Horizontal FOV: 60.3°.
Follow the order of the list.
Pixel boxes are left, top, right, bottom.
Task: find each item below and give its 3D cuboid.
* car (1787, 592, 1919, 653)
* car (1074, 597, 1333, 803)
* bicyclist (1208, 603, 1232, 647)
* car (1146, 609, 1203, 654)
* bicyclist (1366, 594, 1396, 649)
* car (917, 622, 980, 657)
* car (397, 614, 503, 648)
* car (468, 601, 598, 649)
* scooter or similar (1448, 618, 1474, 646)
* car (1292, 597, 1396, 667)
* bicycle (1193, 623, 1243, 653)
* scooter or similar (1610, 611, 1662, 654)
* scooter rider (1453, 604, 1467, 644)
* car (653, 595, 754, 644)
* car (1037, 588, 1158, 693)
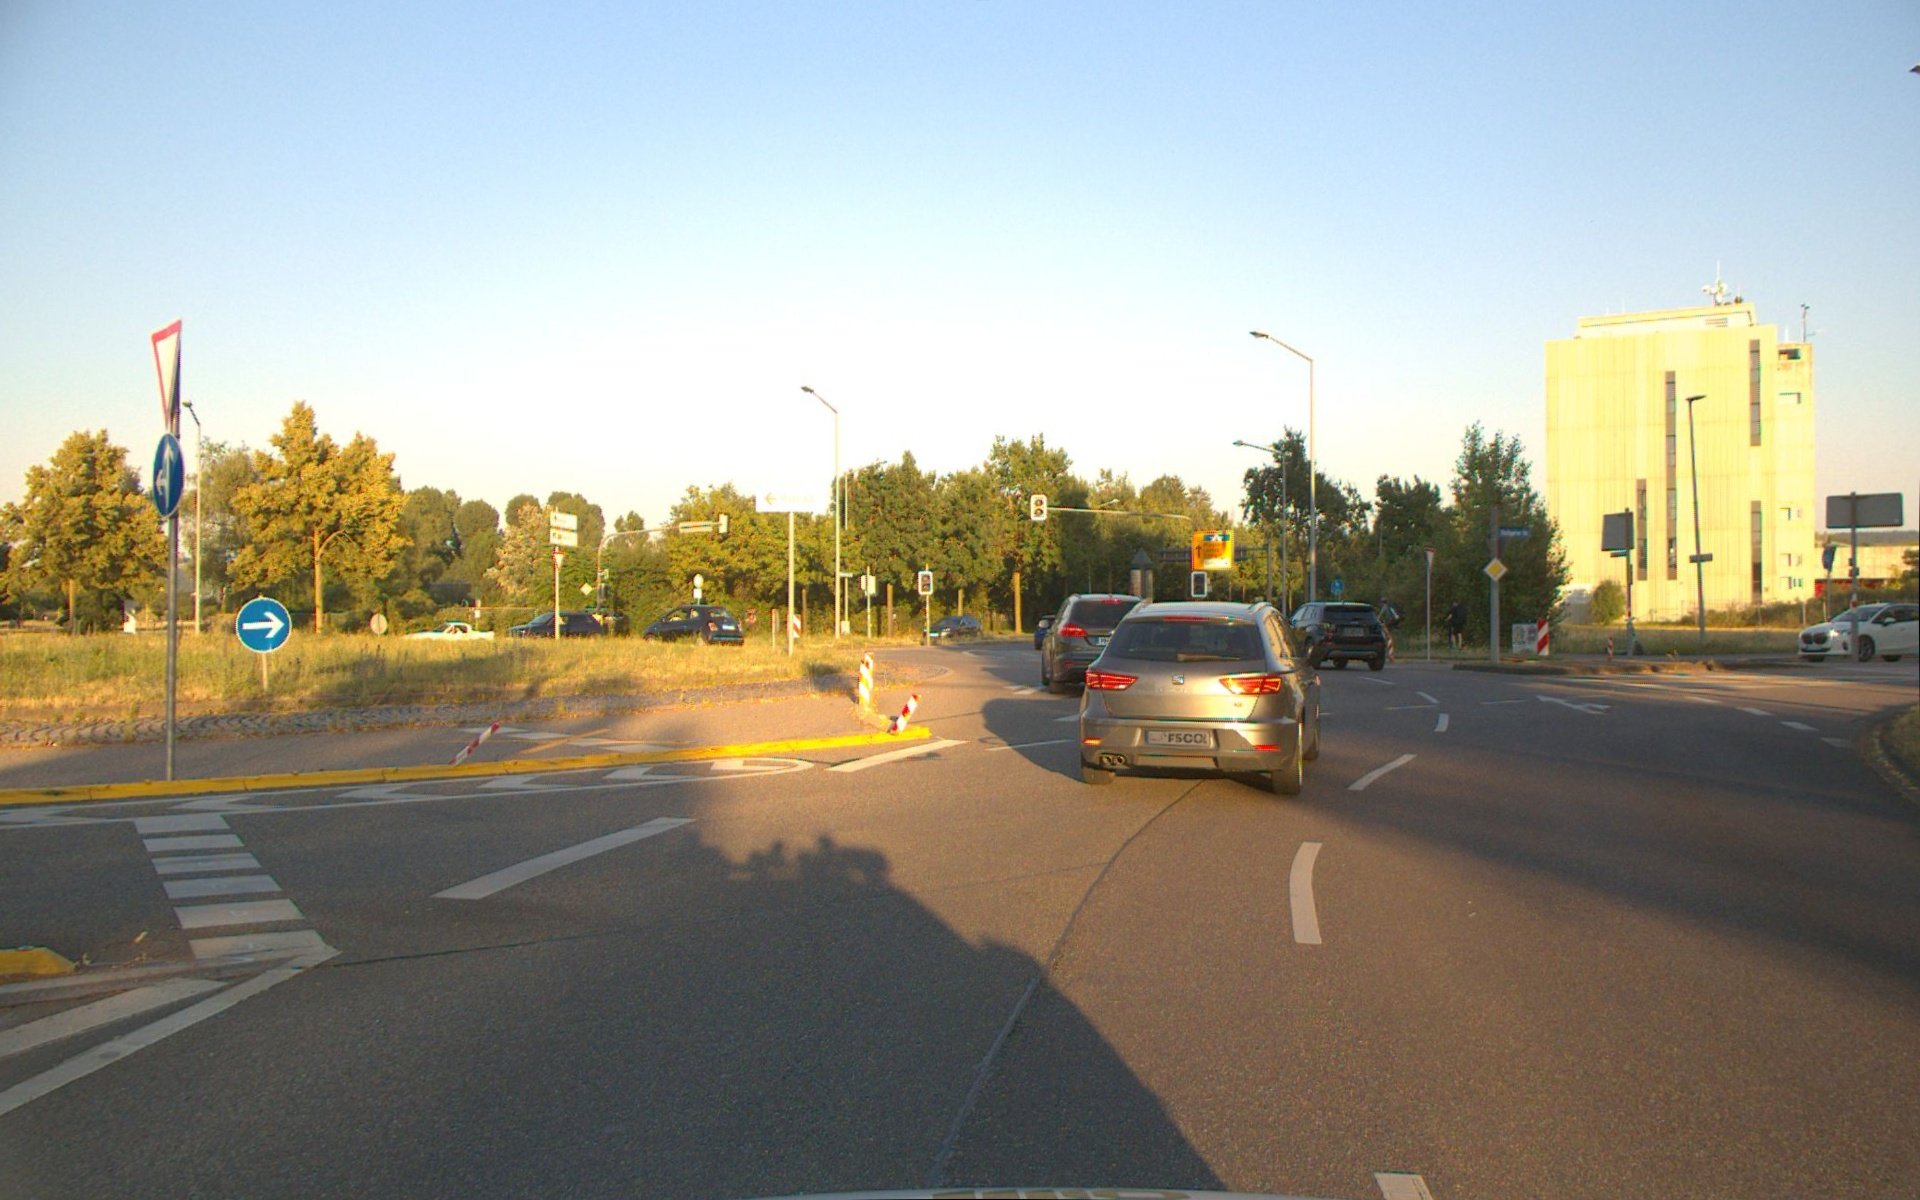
[{"bbox_3d":[24.891,0.630,45.070,4.015,1.586,1.883,0,-2,-16],"label":"car"},{"bbox_3d":[2.180,0.707,13.862,1.708,1.449,4.138,0,0,15],"label":"car"},{"bbox_3d":[10.436,0.985,66.323,0.752,1.732,0.641,-3,-2,22],"label":"bicyclist"},{"bbox_3d":[7.457,1.075,57.805,1.709,1.515,4.136,0,0,4],"label":"car"},{"bbox_3d":[15.056,0.769,59.195,0.888,1.931,0.641,-2,-1,22],"label":"bicyclist"},{"bbox_3d":[-0.560,2.079,87.935,1.710,1.778,4.596,0,0,22],"label":"car"},{"bbox_3d":[-20.362,1.231,66.046,3.746,1.277,1.556,2,-1,-41],"label":"car"},{"bbox_3d":[-16.362,0.945,63.447,4.545,1.778,1.730,0,0,-36],"label":"car"},{"bbox_3d":[16.956,1.066,55.973,0.243,0.930,1.032,0,0,-22],"label":"scooter or similar"},{"bbox_3d":[9.020,0.723,39.149,1.774,1.551,4.137,0,0,4],"label":"car"},{"bbox_3d":[10.363,1.534,66.355,1.883,1.104,0.456,-3,-2,23],"label":"bicycle"},{"bbox_3d":[19.043,0.899,46.607,0.436,1.183,1.369,0,0,-29],"label":"scooter or similar"},{"bbox_3d":[16.927,0.803,55.958,0.260,1.362,0.404,0,-1,-22],"label":"scooter rider"},{"bbox_3d":[-8.115,0.594,52.036,1.728,1.471,4.090,0,0,-31],"label":"car"},{"bbox_3d":[2.136,0.578,25.645,1.709,1.492,4.137,0,0,5],"label":"car"}]
